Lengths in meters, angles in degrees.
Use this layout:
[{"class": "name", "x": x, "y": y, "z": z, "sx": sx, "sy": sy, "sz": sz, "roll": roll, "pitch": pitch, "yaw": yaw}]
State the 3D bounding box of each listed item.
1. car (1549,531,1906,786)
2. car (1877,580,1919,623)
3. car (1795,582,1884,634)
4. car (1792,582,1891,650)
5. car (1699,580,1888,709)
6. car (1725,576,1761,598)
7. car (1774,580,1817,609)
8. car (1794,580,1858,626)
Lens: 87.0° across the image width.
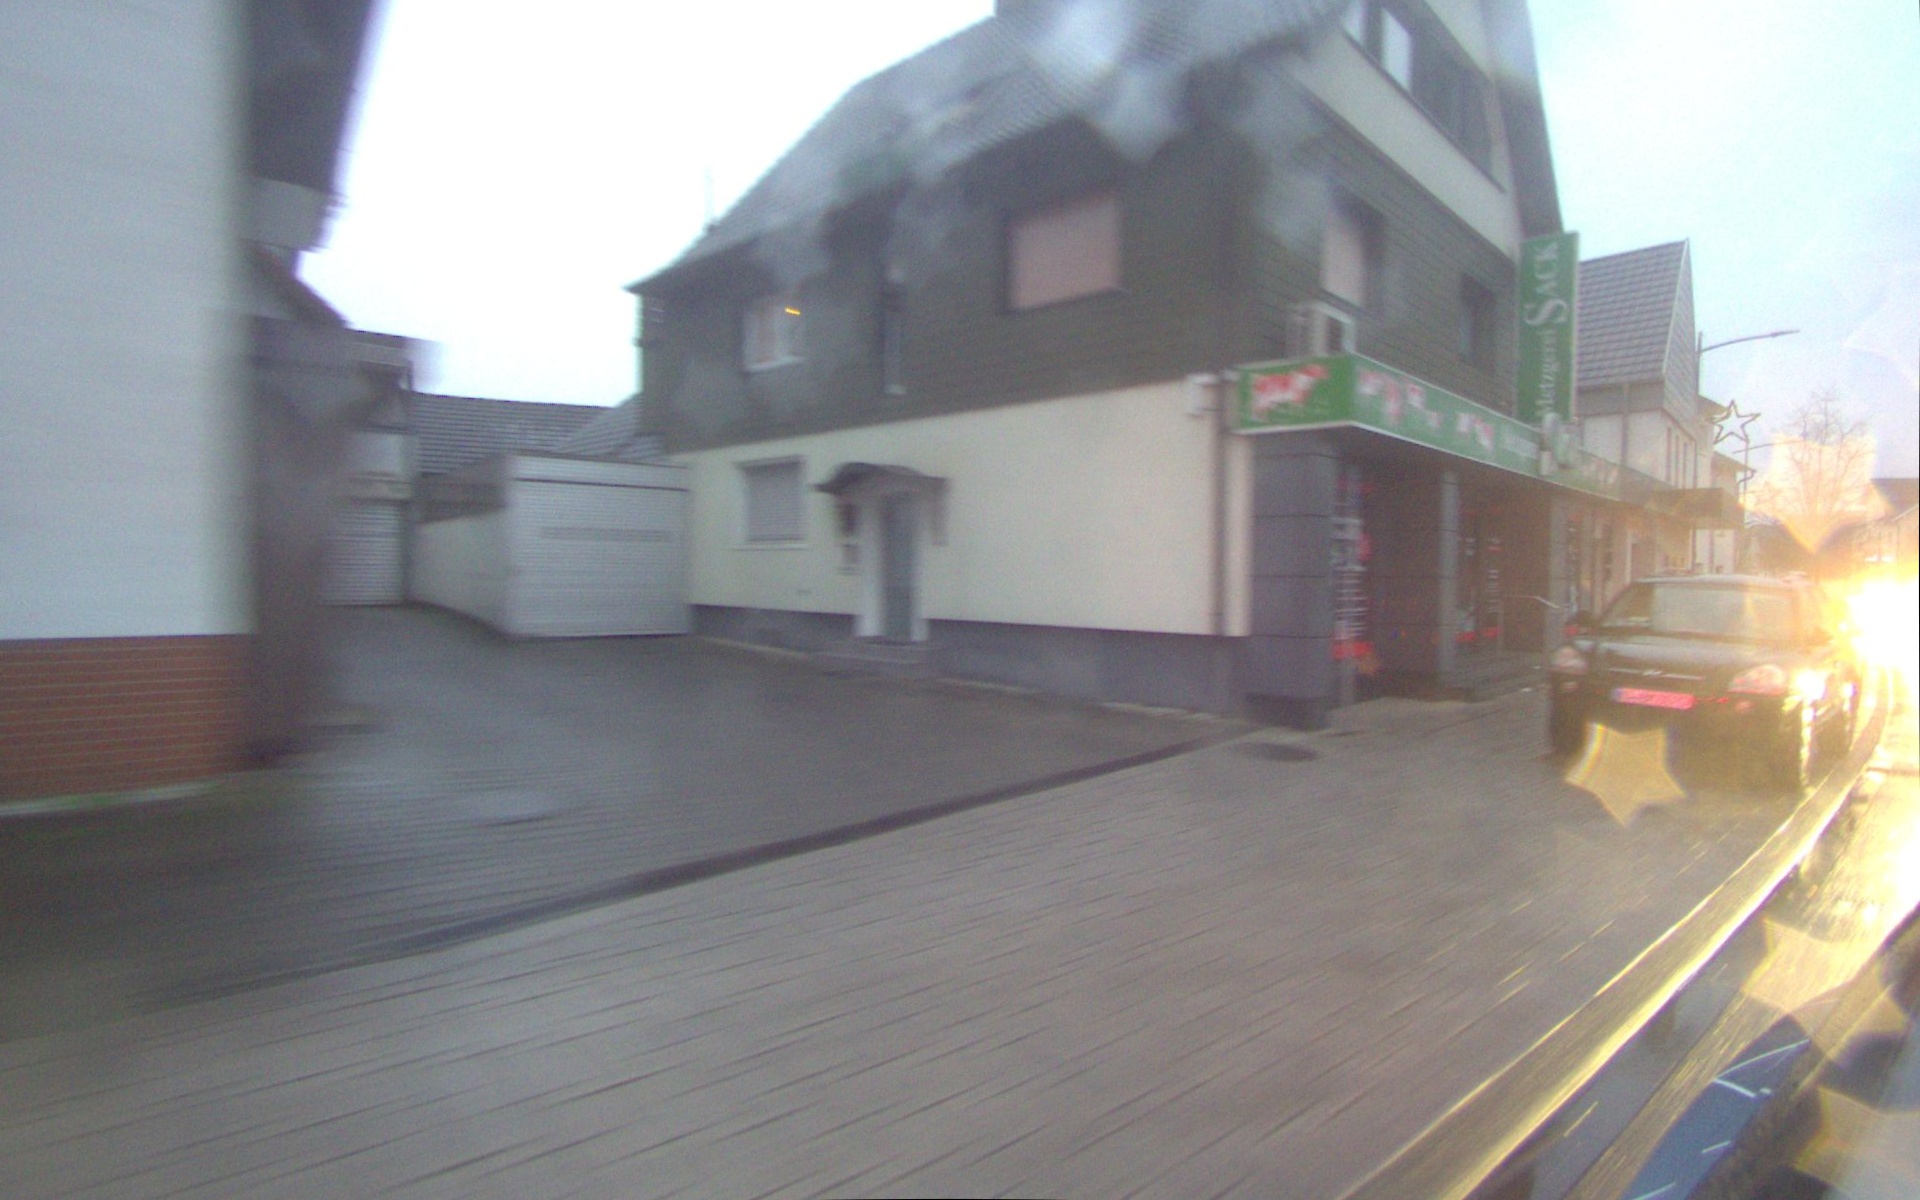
[{"class": "car", "x": 7.108, "y": 0.371, "z": 9.237, "sx": 3.931, "sy": 1.803, "sz": 1.773, "roll": 0, "pitch": 4, "yaw": -42}, {"class": "car", "x": 38.799, "y": 0.049, "z": 41.184, "sx": 1.898, "sy": 1.660, "sz": 4.502, "roll": 2, "pitch": 2, "yaw": 39}, {"class": "car", "x": 28.621, "y": 0.237, "z": 33.066, "sx": 1.953, "sy": 1.552, "sz": 4.939, "roll": -2, "pitch": 0, "yaw": 39}, {"class": "car", "x": 21.790, "y": 0.326, "z": 25.050, "sx": 1.651, "sy": 1.472, "sz": 4.175, "roll": 4, "pitch": 4, "yaw": 41}, {"class": "car", "x": 11.055, "y": 0.510, "z": 13.379, "sx": 1.646, "sy": 1.432, "sz": 2.684, "roll": 5, "pitch": 3, "yaw": 44}, {"class": "car", "x": 69.098, "y": -1.147, "z": 89.384, "sx": 1.902, "sy": 1.813, "sz": 4.517, "roll": 2, "pitch": 1, "yaw": 31}, {"class": "car", "x": 49.745, "y": -0.356, "z": 60.284, "sx": 1.804, "sy": 1.583, "sz": 4.246, "roll": 2, "pitch": 2, "yaw": 38}, {"class": "car", "x": 32.794, "y": 0.064, "z": 38.399, "sx": 1.662, "sy": 1.595, "sz": 4.434, "roll": 2, "pitch": 2, "yaw": 39}]
